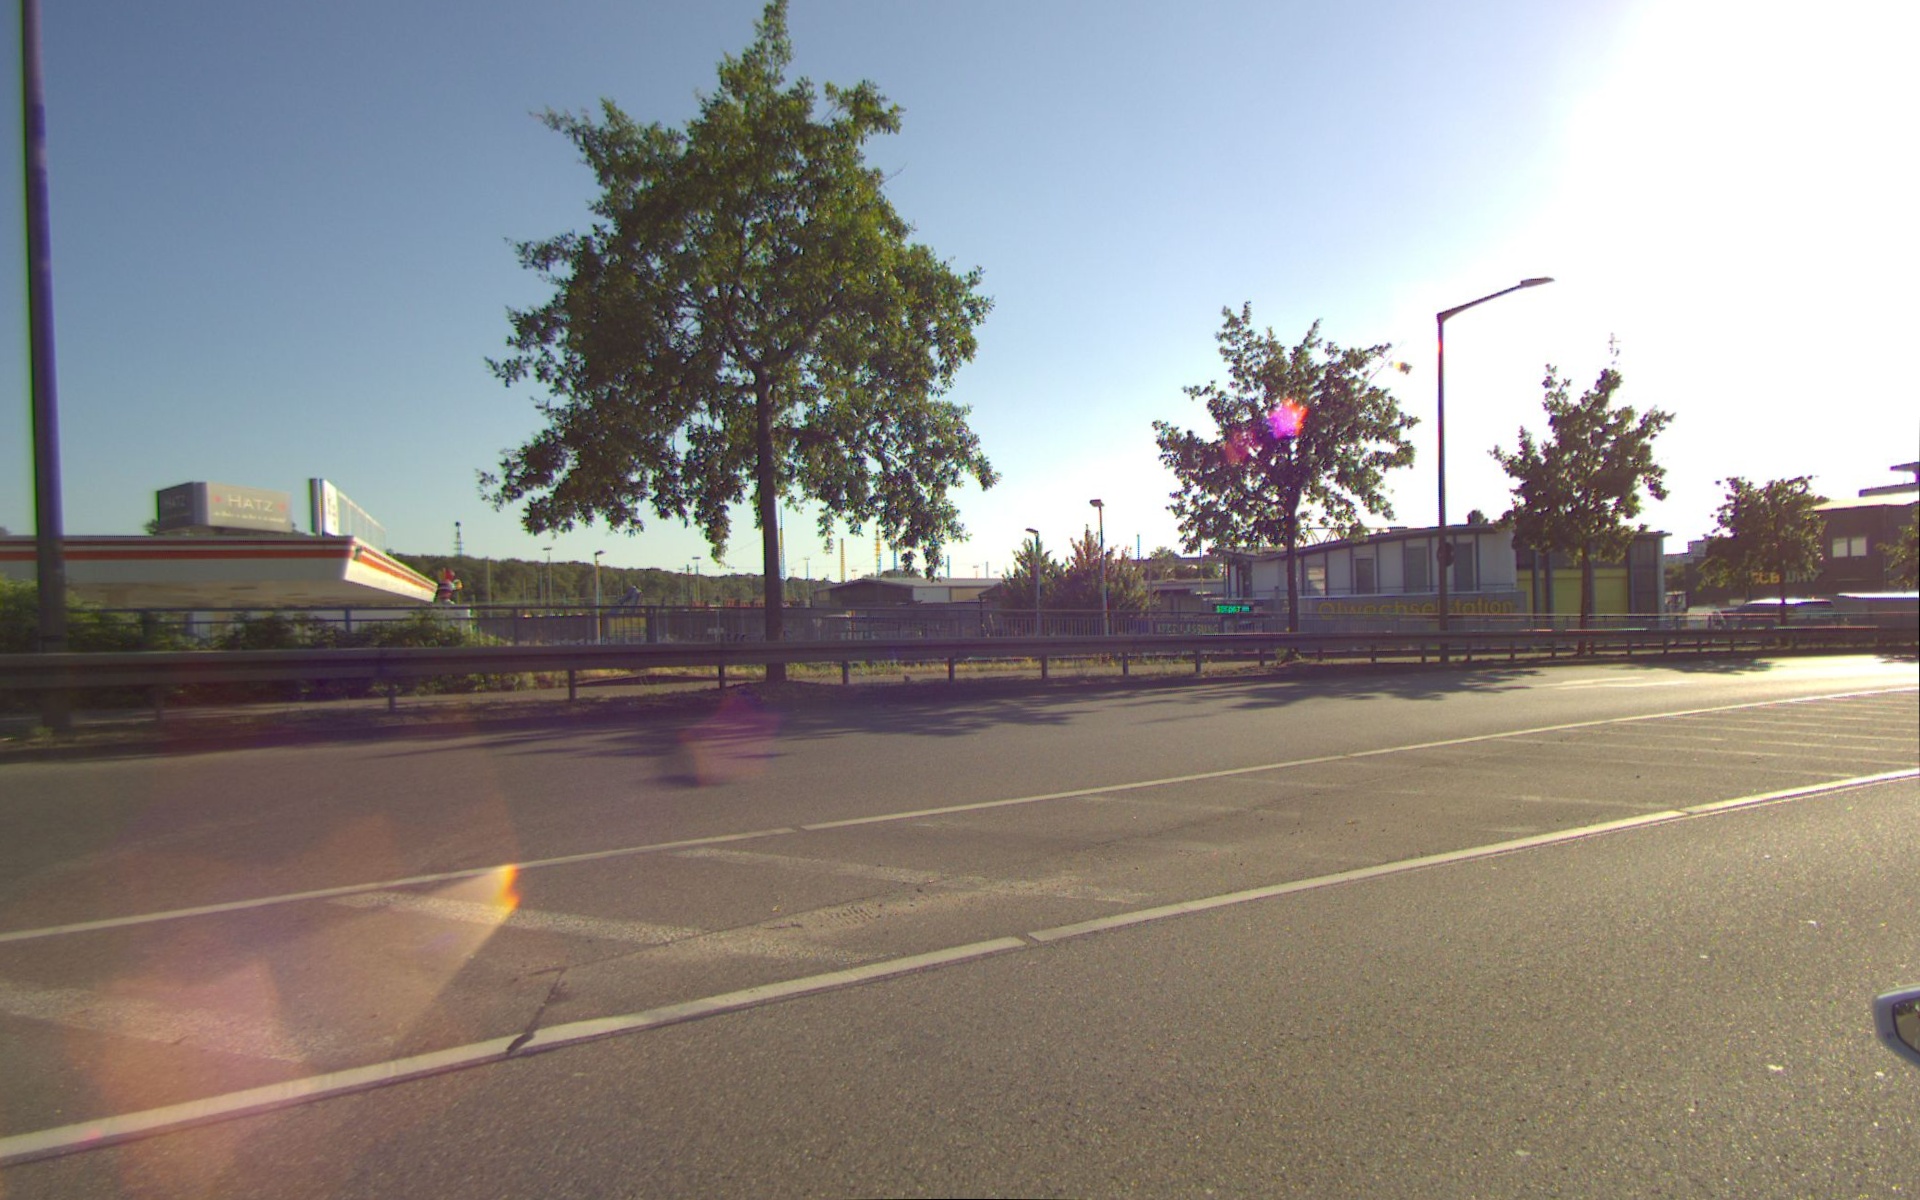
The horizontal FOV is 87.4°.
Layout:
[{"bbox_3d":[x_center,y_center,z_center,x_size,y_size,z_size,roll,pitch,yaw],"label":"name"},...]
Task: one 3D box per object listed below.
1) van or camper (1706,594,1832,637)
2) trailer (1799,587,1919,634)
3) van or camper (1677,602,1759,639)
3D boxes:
[{"bbox_3d":[33.635,0.611,41.763,4.889,1.708,1.989,0,0,-23],"label":"van or camper"},{"bbox_3d":[41.016,0.440,45.029,6.508,1.996,2.415,0,0,-22],"label":"trailer"},{"bbox_3d":[42.424,1.123,56.333,1.959,1.951,4.232,1,-1,10],"label":"van or camper"}]
